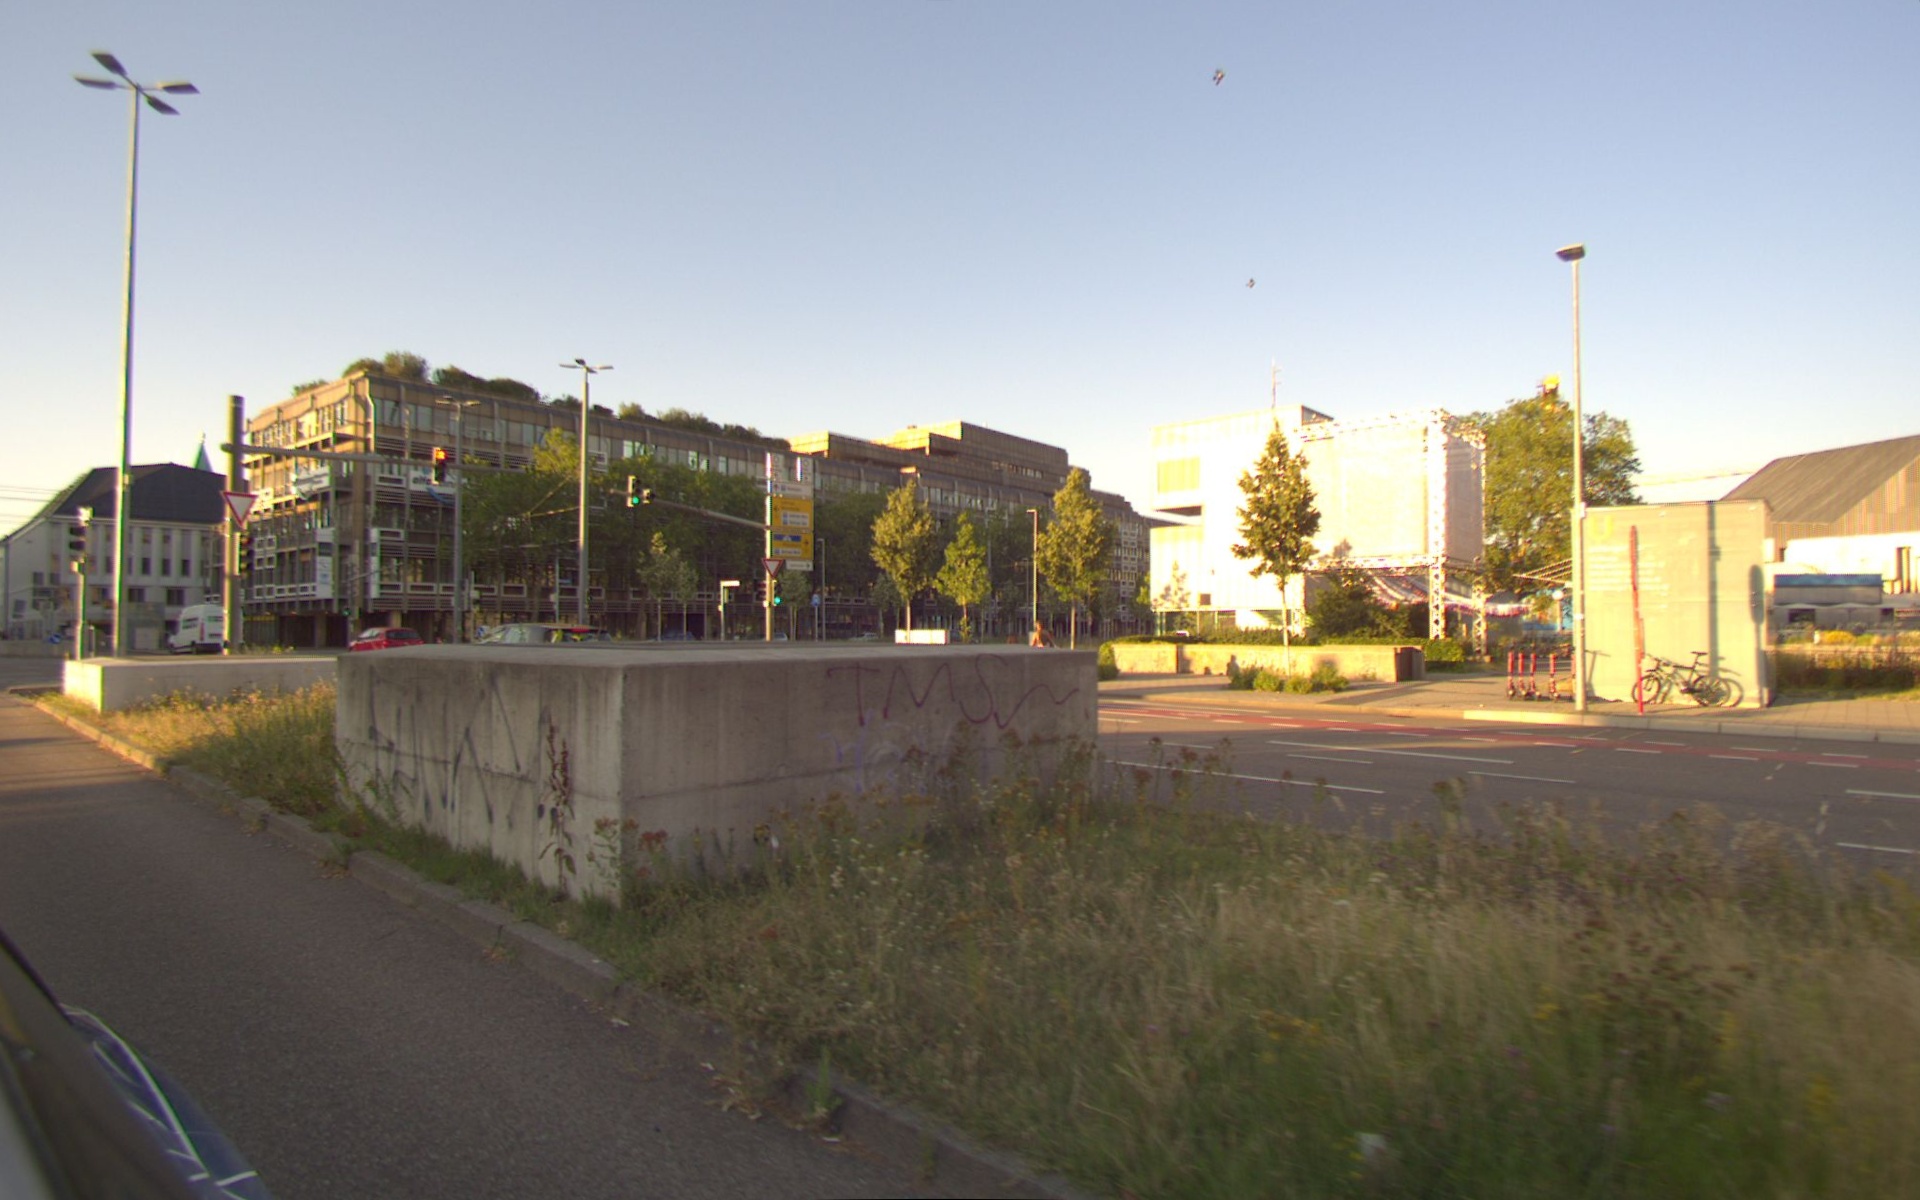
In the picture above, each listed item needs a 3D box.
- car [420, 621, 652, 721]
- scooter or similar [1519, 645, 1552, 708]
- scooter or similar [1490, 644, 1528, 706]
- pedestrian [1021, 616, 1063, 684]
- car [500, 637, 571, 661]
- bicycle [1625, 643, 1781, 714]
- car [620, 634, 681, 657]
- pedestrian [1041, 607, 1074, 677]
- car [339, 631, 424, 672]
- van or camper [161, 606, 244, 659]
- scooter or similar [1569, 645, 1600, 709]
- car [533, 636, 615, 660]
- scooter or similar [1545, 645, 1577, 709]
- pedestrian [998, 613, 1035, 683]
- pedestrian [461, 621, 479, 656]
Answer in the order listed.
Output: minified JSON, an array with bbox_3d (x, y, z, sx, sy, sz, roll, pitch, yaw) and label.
[{"bbox_3d":[-7.326,1.131,17.281,4.535,1.477,1.867,-2,-3,41],"label":"car"},{"bbox_3d":[12.691,1.651,22.303,0.417,1.315,1.771,-1,-2,36],"label":"scooter or similar"},{"bbox_3d":[12.271,1.652,22.590,0.500,1.315,1.841,-1,-2,36],"label":"scooter or similar"},{"bbox_3d":[2.277,1.390,28.170,0.776,1.851,0.862,-3,-3,43],"label":"pedestrian"},{"bbox_3d":[-30.521,3.537,72.879,1.857,1.663,4.342,-3,-3,40],"label":"car"},{"bbox_3d":[15.009,1.557,20.510,2.508,1.334,0.611,-1,-2,41],"label":"bicycle"},{"bbox_3d":[-23.354,3.426,76.409,2.072,1.663,3.946,-2,-3,40],"label":"car"},{"bbox_3d":[2.782,1.198,28.851,0.648,1.948,0.652,-3,-4,44],"label":"pedestrian"},{"bbox_3d":[-23.214,2.032,40.558,3.995,1.538,1.619,-1,-2,39],"label":"car"},{"bbox_3d":[-40.801,1.781,54.448,6.157,2.687,2.204,-3,-3,40],"label":"van or camper"},{"bbox_3d":[13.419,1.624,21.731,0.422,1.315,1.819,-1,-2,36],"label":"scooter or similar"},{"bbox_3d":[-27.285,3.385,71.607,1.999,1.597,5.092,-2,-3,41],"label":"car"},{"bbox_3d":[13.069,1.637,22.001,0.422,1.315,1.814,-1,-2,36],"label":"scooter or similar"},{"bbox_3d":[1.594,1.361,28.752,0.776,1.948,0.624,-4,-3,43],"label":"pedestrian"},{"bbox_3d":[-27.550,2.157,56.896,0.680,1.946,0.636,-1,-2,39],"label":"pedestrian"}]
